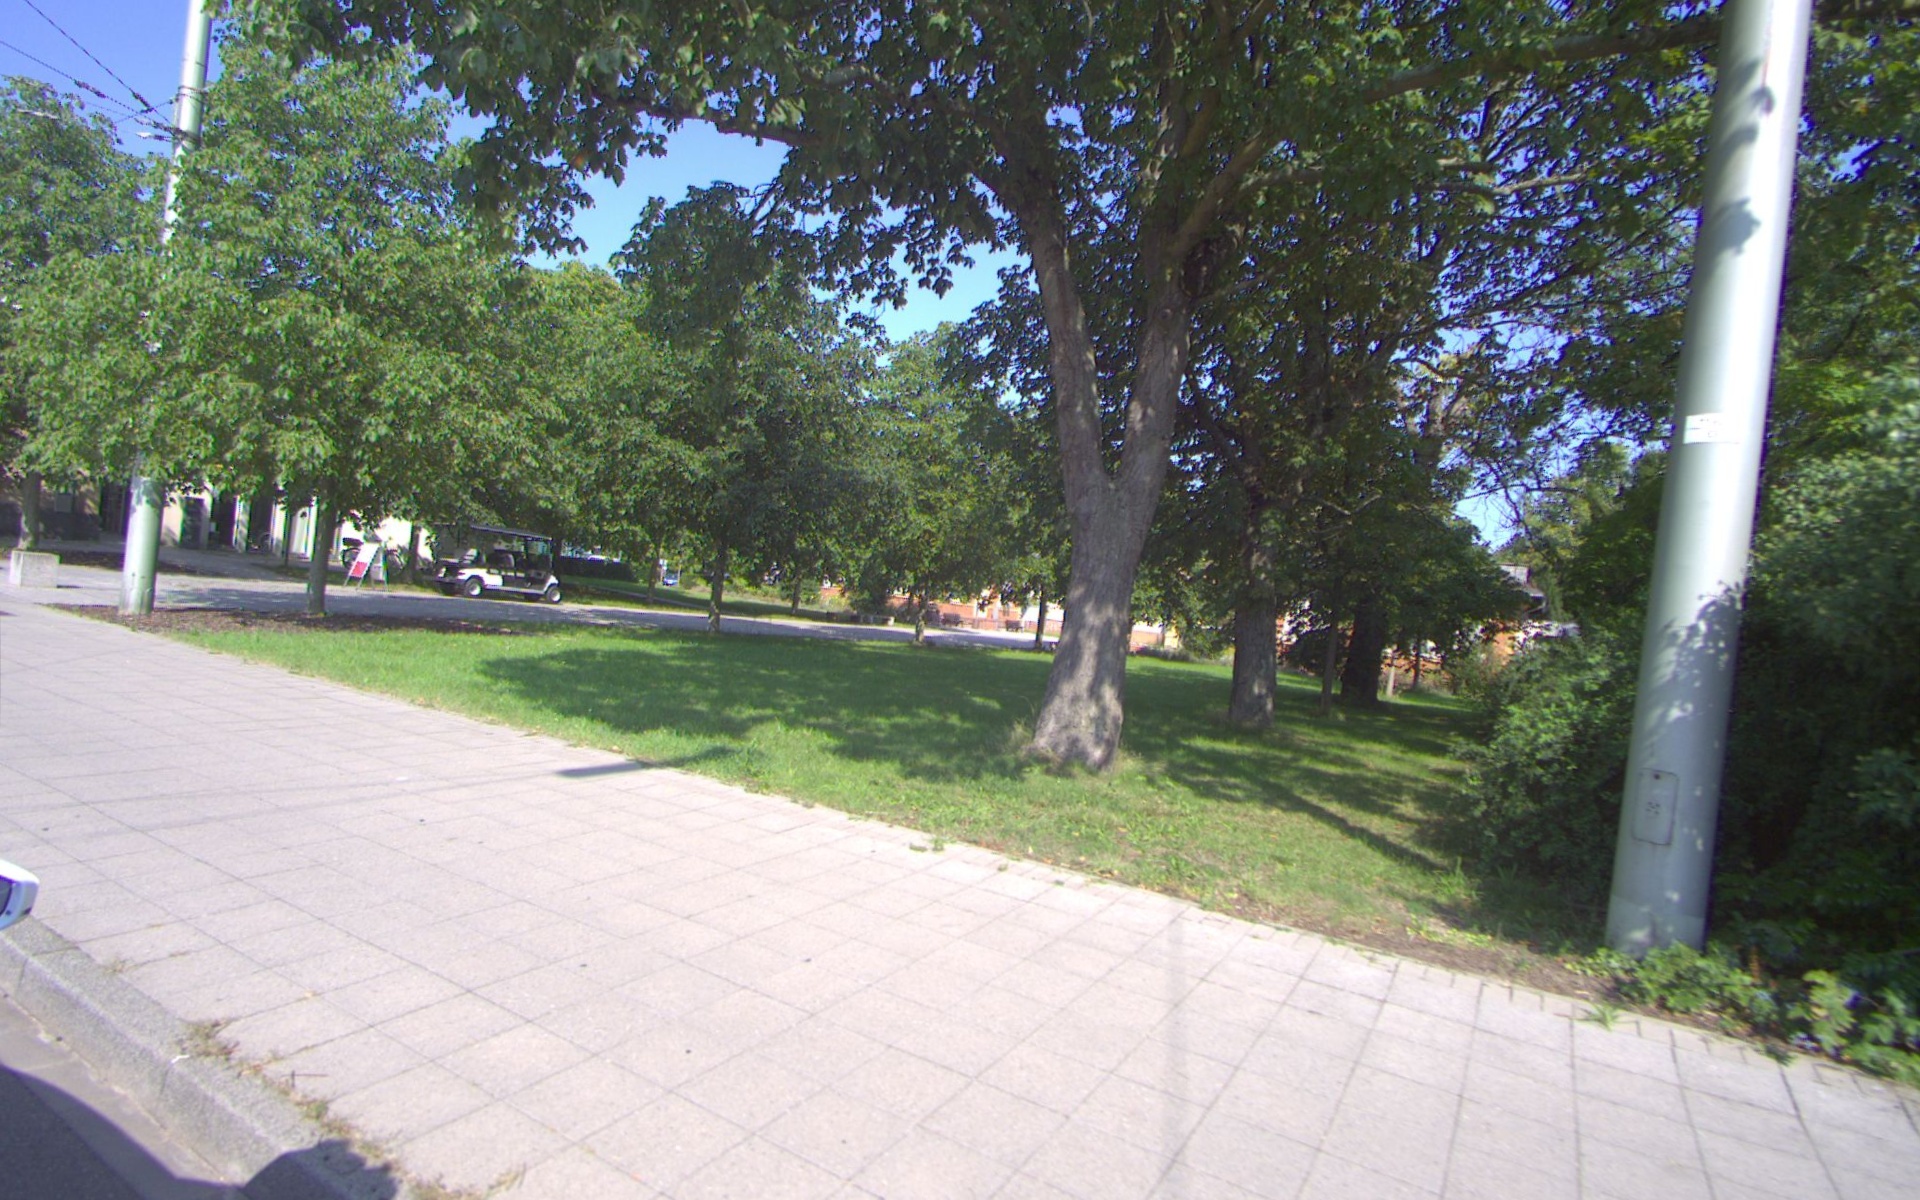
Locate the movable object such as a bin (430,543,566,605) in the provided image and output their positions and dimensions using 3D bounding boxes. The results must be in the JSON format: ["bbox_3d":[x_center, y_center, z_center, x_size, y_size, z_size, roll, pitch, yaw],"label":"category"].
[{"bbox_3d":[-12.458,-0.677,27.268,1.279,1.314,3.109,7,0,31],"label":"movable object such as a bin"}]

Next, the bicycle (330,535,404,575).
[{"bbox_3d":[-18.058,-1.362,30.665,0.420,0.992,1.907,7,0,31],"label":"bicycle"}]
